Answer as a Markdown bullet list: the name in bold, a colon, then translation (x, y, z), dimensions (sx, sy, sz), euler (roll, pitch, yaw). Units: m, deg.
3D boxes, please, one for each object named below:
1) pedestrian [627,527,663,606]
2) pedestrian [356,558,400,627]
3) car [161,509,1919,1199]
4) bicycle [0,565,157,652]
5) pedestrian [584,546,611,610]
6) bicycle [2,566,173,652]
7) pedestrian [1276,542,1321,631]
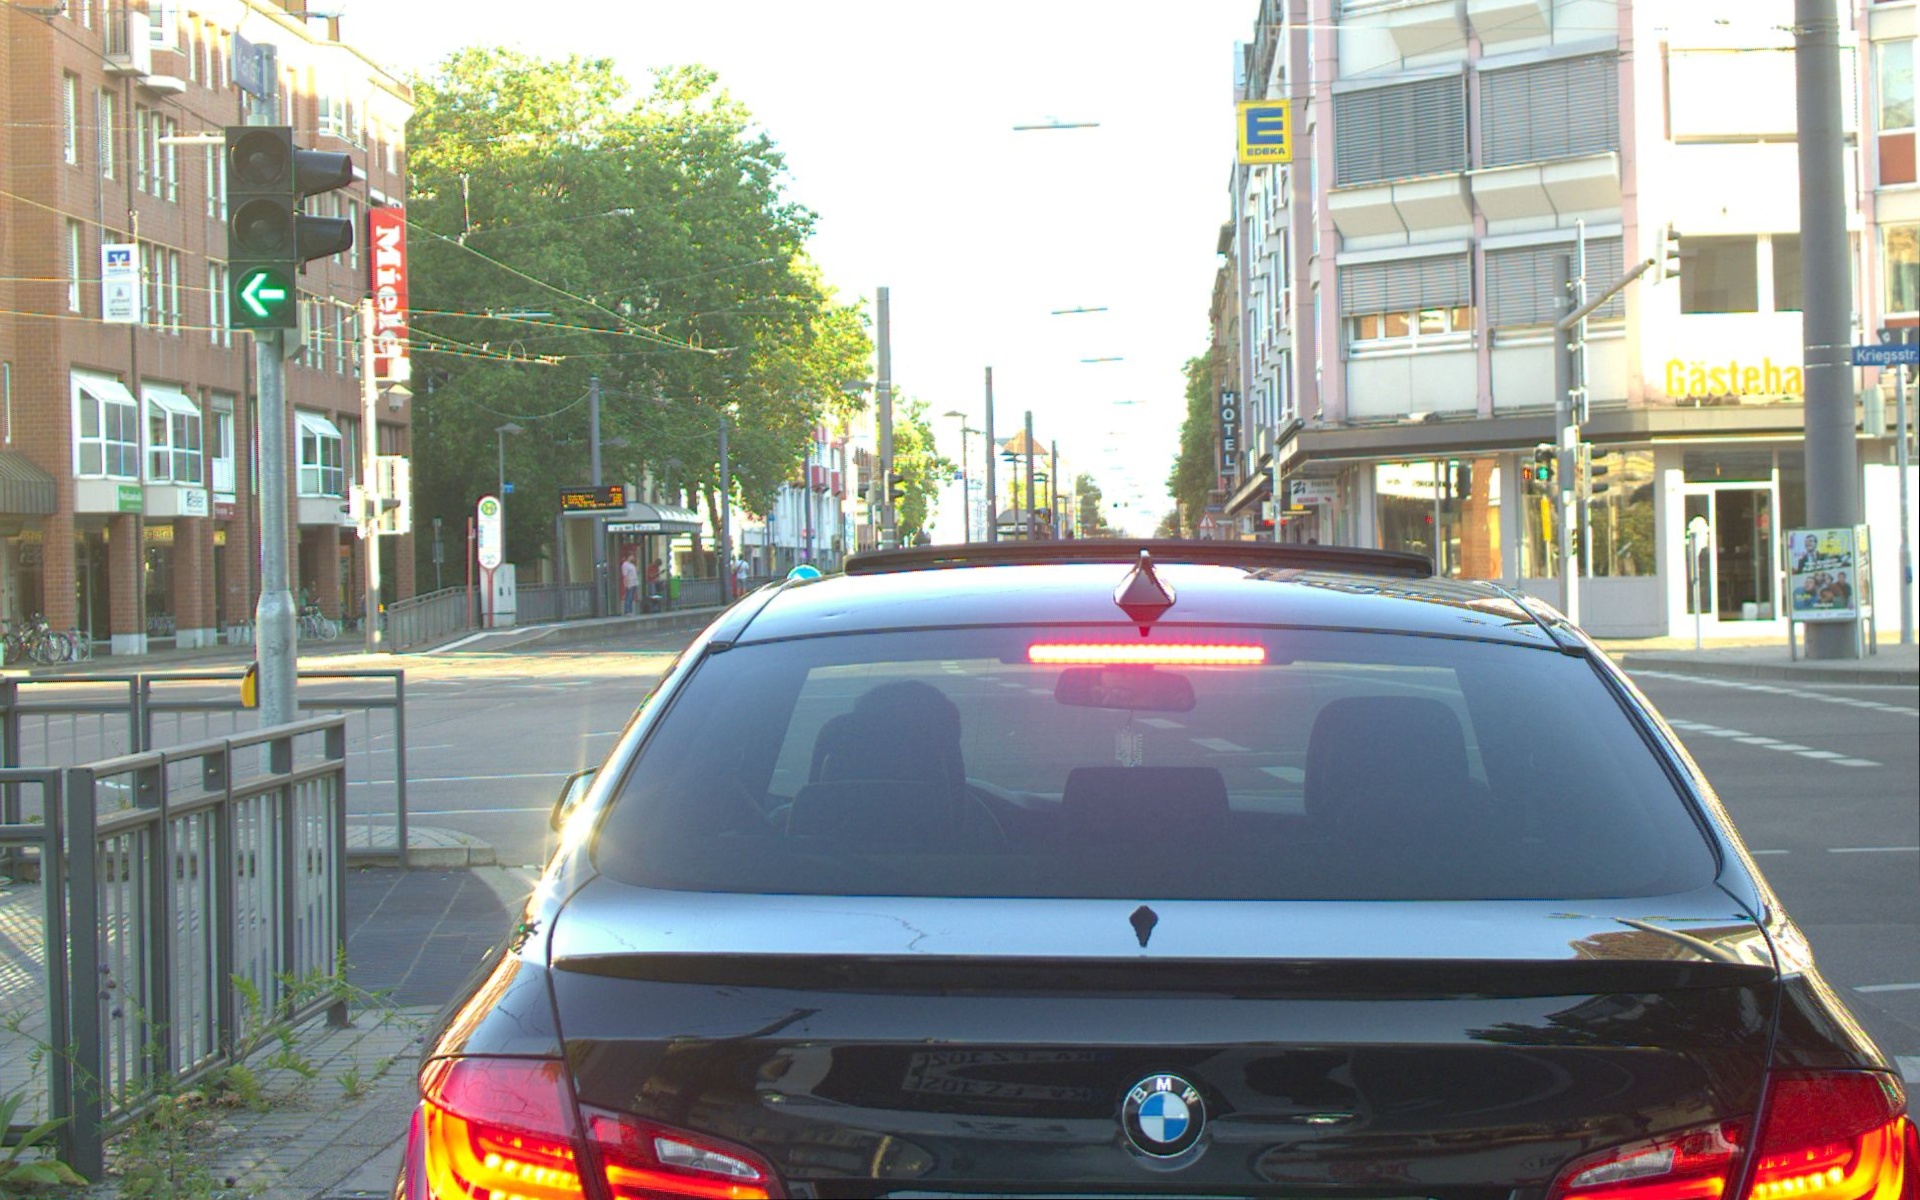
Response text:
- **pedestrian**: translation (-8.159, -0.876, 89.144), dimensions (0.808, 2.007, 0.678), euler (-2, 1, 0)
- **pedestrian**: translation (-17.204, -0.227, 101.670), dimensions (1.085, 2.007, 1.084), euler (-1, 1, -1)
- **car**: translation (0.180, 0.645, 5.228), dimensions (1.841, 1.490, 4.292), euler (1, 1, -1)
- **bicycle**: translation (-18.586, 0.176, 71.842), dimensions (3.297, 1.720, 1.069), euler (-1, 1, 3)
- **pedestrian**: translation (-9.436, -0.567, 89.546), dimensions (0.584, 1.651, 0.678), euler (-2, 1, 0)
- **bicycle**: translation (-18.514, 0.186, 73.010), dimensions (3.297, 1.720, 1.069), euler (-1, 1, 2)
- **pedestrian**: translation (6.097, -0.245, 61.982), dimensions (0.705, 1.543, 0.907), euler (0, 4, 0)
